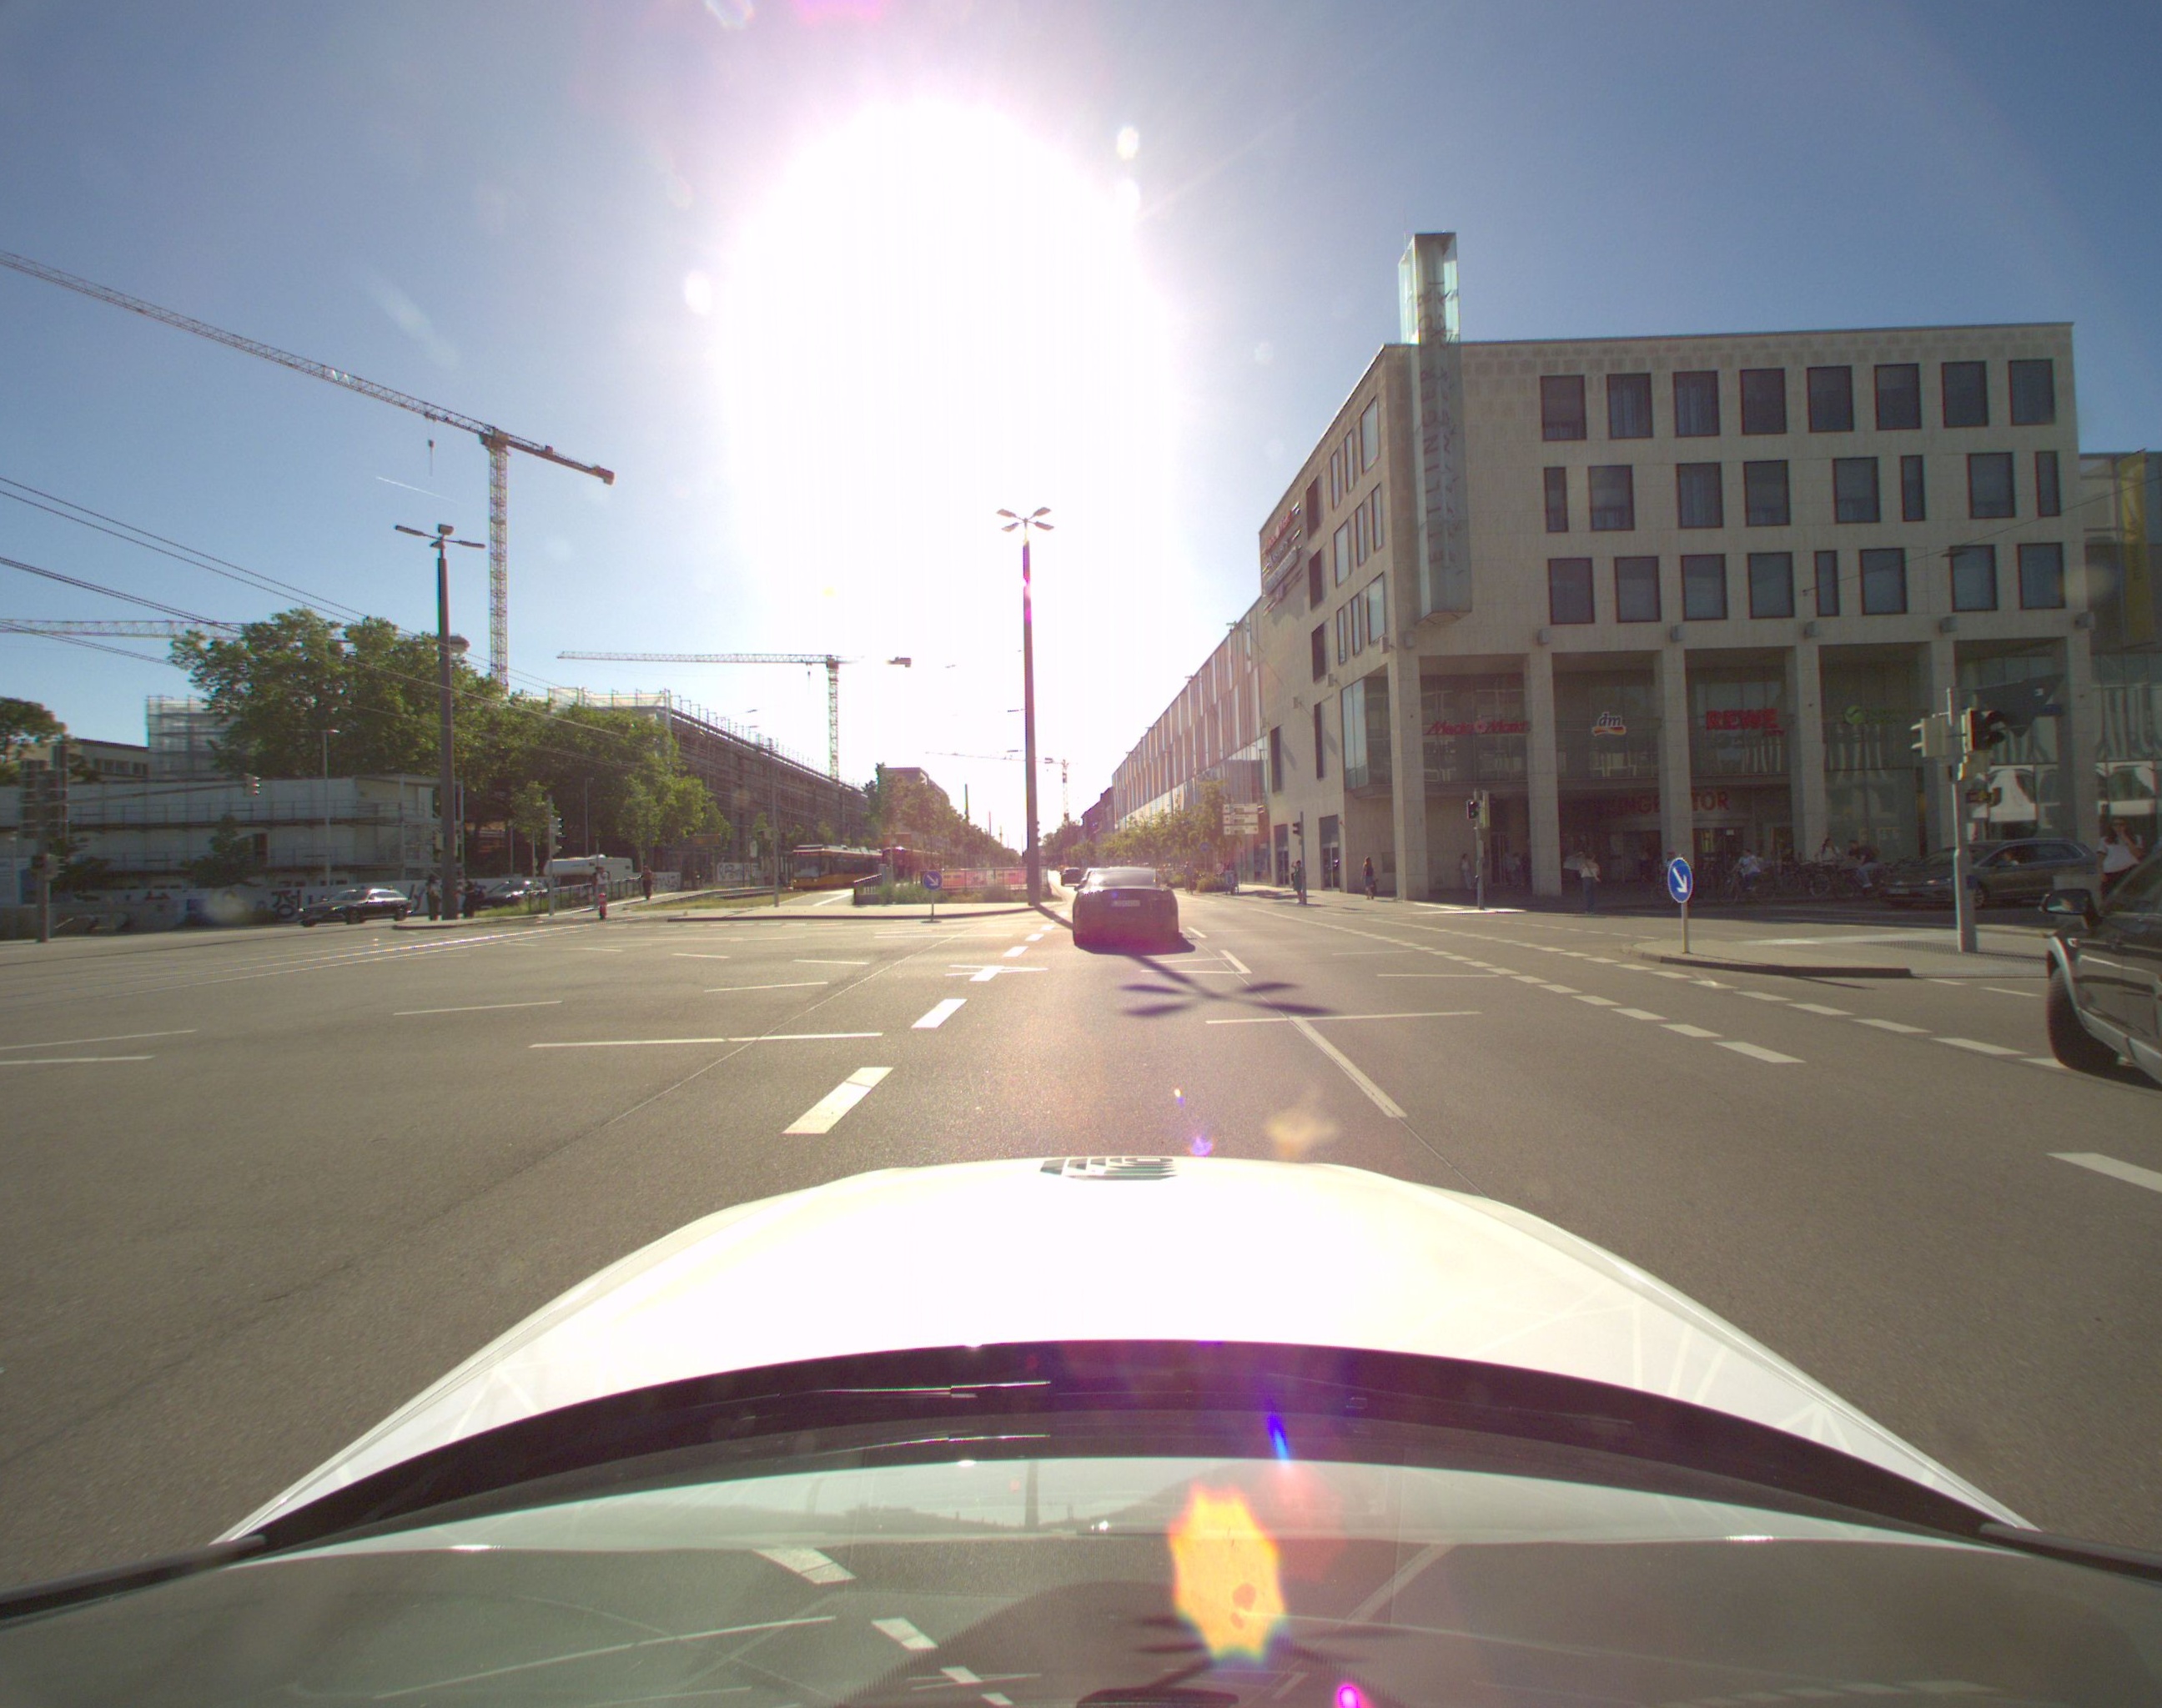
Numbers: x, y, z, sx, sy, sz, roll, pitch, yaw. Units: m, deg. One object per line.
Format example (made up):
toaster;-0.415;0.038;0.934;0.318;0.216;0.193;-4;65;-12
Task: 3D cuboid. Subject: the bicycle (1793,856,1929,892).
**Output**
bicycle;25.469;0.628;26.743;1.063;1.094;3.496;-2;-1;0

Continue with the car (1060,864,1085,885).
car;-0.647;1.613;65.401;1.882;1.596;3.999;-2;0;0

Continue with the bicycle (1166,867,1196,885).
bicycle;7.307;1.601;59.754;2.077;1.205;0.951;-3;-1;3

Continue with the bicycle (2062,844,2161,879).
bicycle;34.770;0.247;26.665;1.063;1.094;3.496;-2;-1;0

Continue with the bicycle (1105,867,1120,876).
bicycle;4.299;2.391;109.869;1.884;1.151;0.668;-3;-1;-14

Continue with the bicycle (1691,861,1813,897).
bicycle;21.889;0.786;26.709;1.063;1.094;3.495;-2;-1;-1

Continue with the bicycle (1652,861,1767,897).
bicycle;20.720;0.802;27.007;1.063;1.094;3.495;-2;-1;-1

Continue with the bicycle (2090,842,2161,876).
bicycle;35.907;0.159;26.783;1.063;1.094;3.496;-2;-1;0

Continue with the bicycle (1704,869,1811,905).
bicycle;19.605;0.936;23.651;2.185;0.943;1.072;-2;-1;0

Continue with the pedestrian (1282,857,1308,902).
pedestrian;8.362;0.992;31.850;0.656;1.702;0.697;-4;-1;-5

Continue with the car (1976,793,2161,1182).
car;6.346;0.557;4.151;1.767;1.699;4.440;-2;-1;40

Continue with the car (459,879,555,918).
car;-28.739;2.192;40.962;1.942;1.707;4.360;-2;-1;-4

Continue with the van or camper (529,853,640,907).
van or camper;-29.690;1.478;49.113;2.600;2.937;7.330;-2;-1;-4

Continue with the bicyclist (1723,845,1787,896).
bicyclist;19.551;0.473;23.652;0.930;1.396;1.076;-2;-1;1

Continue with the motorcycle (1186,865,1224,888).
motorcycle;7.746;1.389;50.914;2.181;1.324;0.903;-3;-1;1

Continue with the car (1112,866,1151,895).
car;2.708;1.411;44.684;1.712;1.432;3.996;-1;0;-2

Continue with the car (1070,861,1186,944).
car;0.803;0.876;16.570;1.994;1.434;4.409;-1;-1;-1

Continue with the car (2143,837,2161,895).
car;28.729;0.177;19.347;4.591;1.421;1.860;-2;-2;-1

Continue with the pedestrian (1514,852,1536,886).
pedestrian;21.250;0.706;39.001;0.559;1.608;0.741;-2;0;-39

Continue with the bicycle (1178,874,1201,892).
bicycle;6.060;1.612;45.515;0.728;0.983;2.327;0;-1;-7

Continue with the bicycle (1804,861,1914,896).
bicycle;22.616;0.709;23.720;2.185;0.932;1.030;-2;-1;0

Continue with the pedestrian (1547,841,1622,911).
pedestrian;13.852;0.594;22.454;0.965;1.801;1.521;-4;-1;-3

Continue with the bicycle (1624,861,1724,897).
bicycle;19.552;0.810;26.965;1.063;1.094;2.990;-2;-1;-1

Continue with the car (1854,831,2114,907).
car;21.600;0.381;19.606;4.173;1.613;1.860;-2;-2;-1

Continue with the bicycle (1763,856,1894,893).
bicycle;24.333;0.639;26.665;1.063;1.094;3.496;-2;-1;0

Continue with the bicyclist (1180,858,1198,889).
bicyclist;6.039;1.084;45.511;0.724;1.737;0.995;-2;-1;-7

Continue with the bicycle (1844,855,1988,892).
bicycle;27.068;0.619;26.554;1.063;1.094;3.496;-2;-1;0

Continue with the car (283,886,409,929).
car;-32.138;2.272;35.815;1.996;1.561;4.808;-2;-1;-13

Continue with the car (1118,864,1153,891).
car;3.356;1.429;50.912;1.780;1.546;4.035;-1;0;-2

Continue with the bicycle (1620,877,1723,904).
bicycle;17.105;1.053;23.636;2.185;0.671;1.072;-2;-1;0

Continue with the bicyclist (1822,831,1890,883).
bicyclist;22.549;0.086;23.720;0.930;1.433;1.040;-2;-1;0

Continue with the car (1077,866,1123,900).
car;0.765;1.210;34.958;1.712;1.320;3.996;-1;0;-2

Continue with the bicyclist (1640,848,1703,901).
bicyclist;17.130;0.596;23.655;1.018;1.476;1.072;-2;-1;1

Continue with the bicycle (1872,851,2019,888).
bicycle;28.222;0.499;26.728;1.063;1.094;3.496;-2;-1;0

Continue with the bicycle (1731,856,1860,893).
bicycle;23.120;0.641;26.493;1.063;1.094;3.495;-2;-1;-1
